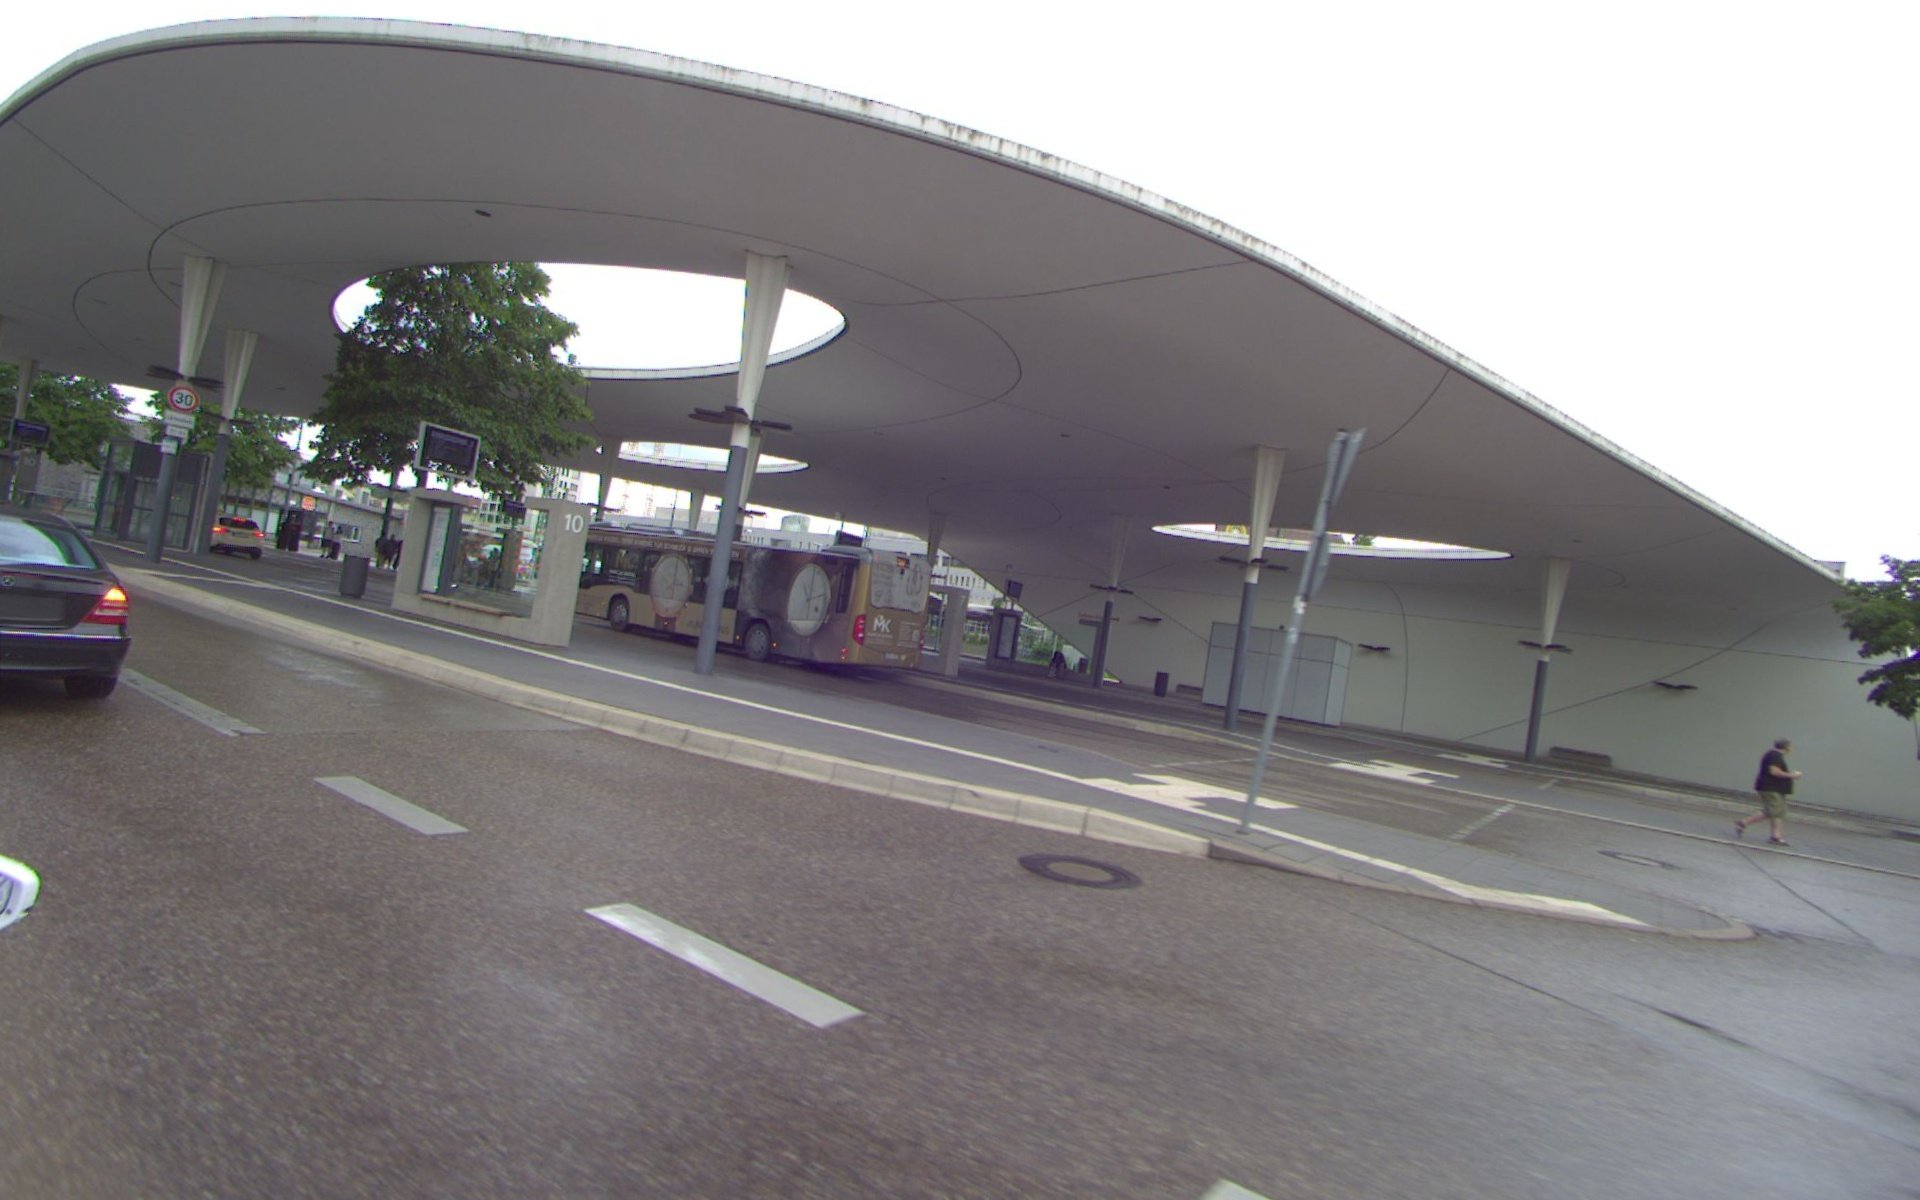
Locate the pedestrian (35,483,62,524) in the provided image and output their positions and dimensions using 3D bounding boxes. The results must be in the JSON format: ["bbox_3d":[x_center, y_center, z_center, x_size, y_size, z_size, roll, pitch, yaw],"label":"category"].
[{"bbox_3d":[-40.494,-4.264,44.701,0.569,1.698,0.579,7,-1,-28],"label":"pedestrian"}]

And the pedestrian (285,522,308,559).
[{"bbox_3d":[-33.554,-2.994,50.884,0.573,1.732,0.560,9,-6,-19],"label":"pedestrian"}]

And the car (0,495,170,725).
[{"bbox_3d":[-8.056,-0.127,7.877,4.236,1.479,1.699,7,0,35],"label":"car"}]

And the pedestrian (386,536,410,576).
[{"bbox_3d":[-25.603,-2.003,45.797,0.706,1.731,0.758,4,6,-41],"label":"pedestrian"}]

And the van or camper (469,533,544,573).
[{"bbox_3d":[-34.836,-3.579,77.353,2.076,2.295,4.695,7,-2,32],"label":"van or camper"}]

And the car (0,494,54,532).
[{"bbox_3d":[-53.745,-5.037,57.665,4.173,1.680,1.714,7,-3,36],"label":"car"}]

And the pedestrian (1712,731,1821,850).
[{"bbox_3d":[13.180,3.093,16.467,1.002,1.704,0.720,7,0,10],"label":"pedestrian"}]

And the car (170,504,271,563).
[{"bbox_3d":[-28.203,-2.557,38.320,4.173,1.680,1.714,7,-3,35],"label":"car"}]

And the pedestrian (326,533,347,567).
[{"bbox_3d":[-32.054,-2.566,51.697,0.573,1.593,0.560,9,-6,-19],"label":"pedestrian"}]

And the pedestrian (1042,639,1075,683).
[{"bbox_3d":[4.007,2.479,40.936,0.893,1.603,0.797,7,-3,30],"label":"pedestrian"}]

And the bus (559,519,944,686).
[{"bbox_3d":[-6.133,-0.139,27.307,11.902,3.080,2.723,7,-1,36],"label":"bus"}]

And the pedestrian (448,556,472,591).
[{"bbox_3d":[-22.293,-1.167,44.856,0.604,1.461,0.561,7,-1,33],"label":"pedestrian"}]

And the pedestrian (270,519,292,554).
[{"bbox_3d":[-33.762,-3.174,50.059,0.574,1.593,0.559,10,-6,-24],"label":"pedestrian"}]

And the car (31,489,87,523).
[{"bbox_3d":[-55.126,-5.761,61.508,3.352,1.577,1.544,8,-2,32],"label":"car"}]

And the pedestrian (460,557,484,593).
[{"bbox_3d":[-21.491,-1.112,44.333,0.604,1.461,0.561,7,-1,33],"label":"pedestrian"}]

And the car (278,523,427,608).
[{"bbox_3d":[-14.136,-0.807,23.381,3.186,1.469,1.649,8,-2,35],"label":"car"}]

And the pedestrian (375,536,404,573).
[{"bbox_3d":[-27.549,-2.197,48.572,0.759,1.593,0.583,7,-6,4],"label":"pedestrian"}]

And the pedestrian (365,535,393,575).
[{"bbox_3d":[-25.107,-1.932,43.464,0.699,1.599,0.600,6,-2,27],"label":"pedestrian"}]

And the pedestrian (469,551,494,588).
[{"bbox_3d":[-20.656,-1.313,43.442,0.625,1.461,0.561,7,-1,33],"label":"pedestrian"}]

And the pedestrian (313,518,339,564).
[{"bbox_3d":[-30.302,-2.800,48.082,0.718,2.032,0.666,10,-6,-27],"label":"pedestrian"}]

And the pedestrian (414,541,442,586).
[{"bbox_3d":[-21.740,-1.507,41.131,0.603,1.711,0.561,8,-1,29],"label":"pedestrian"}]
